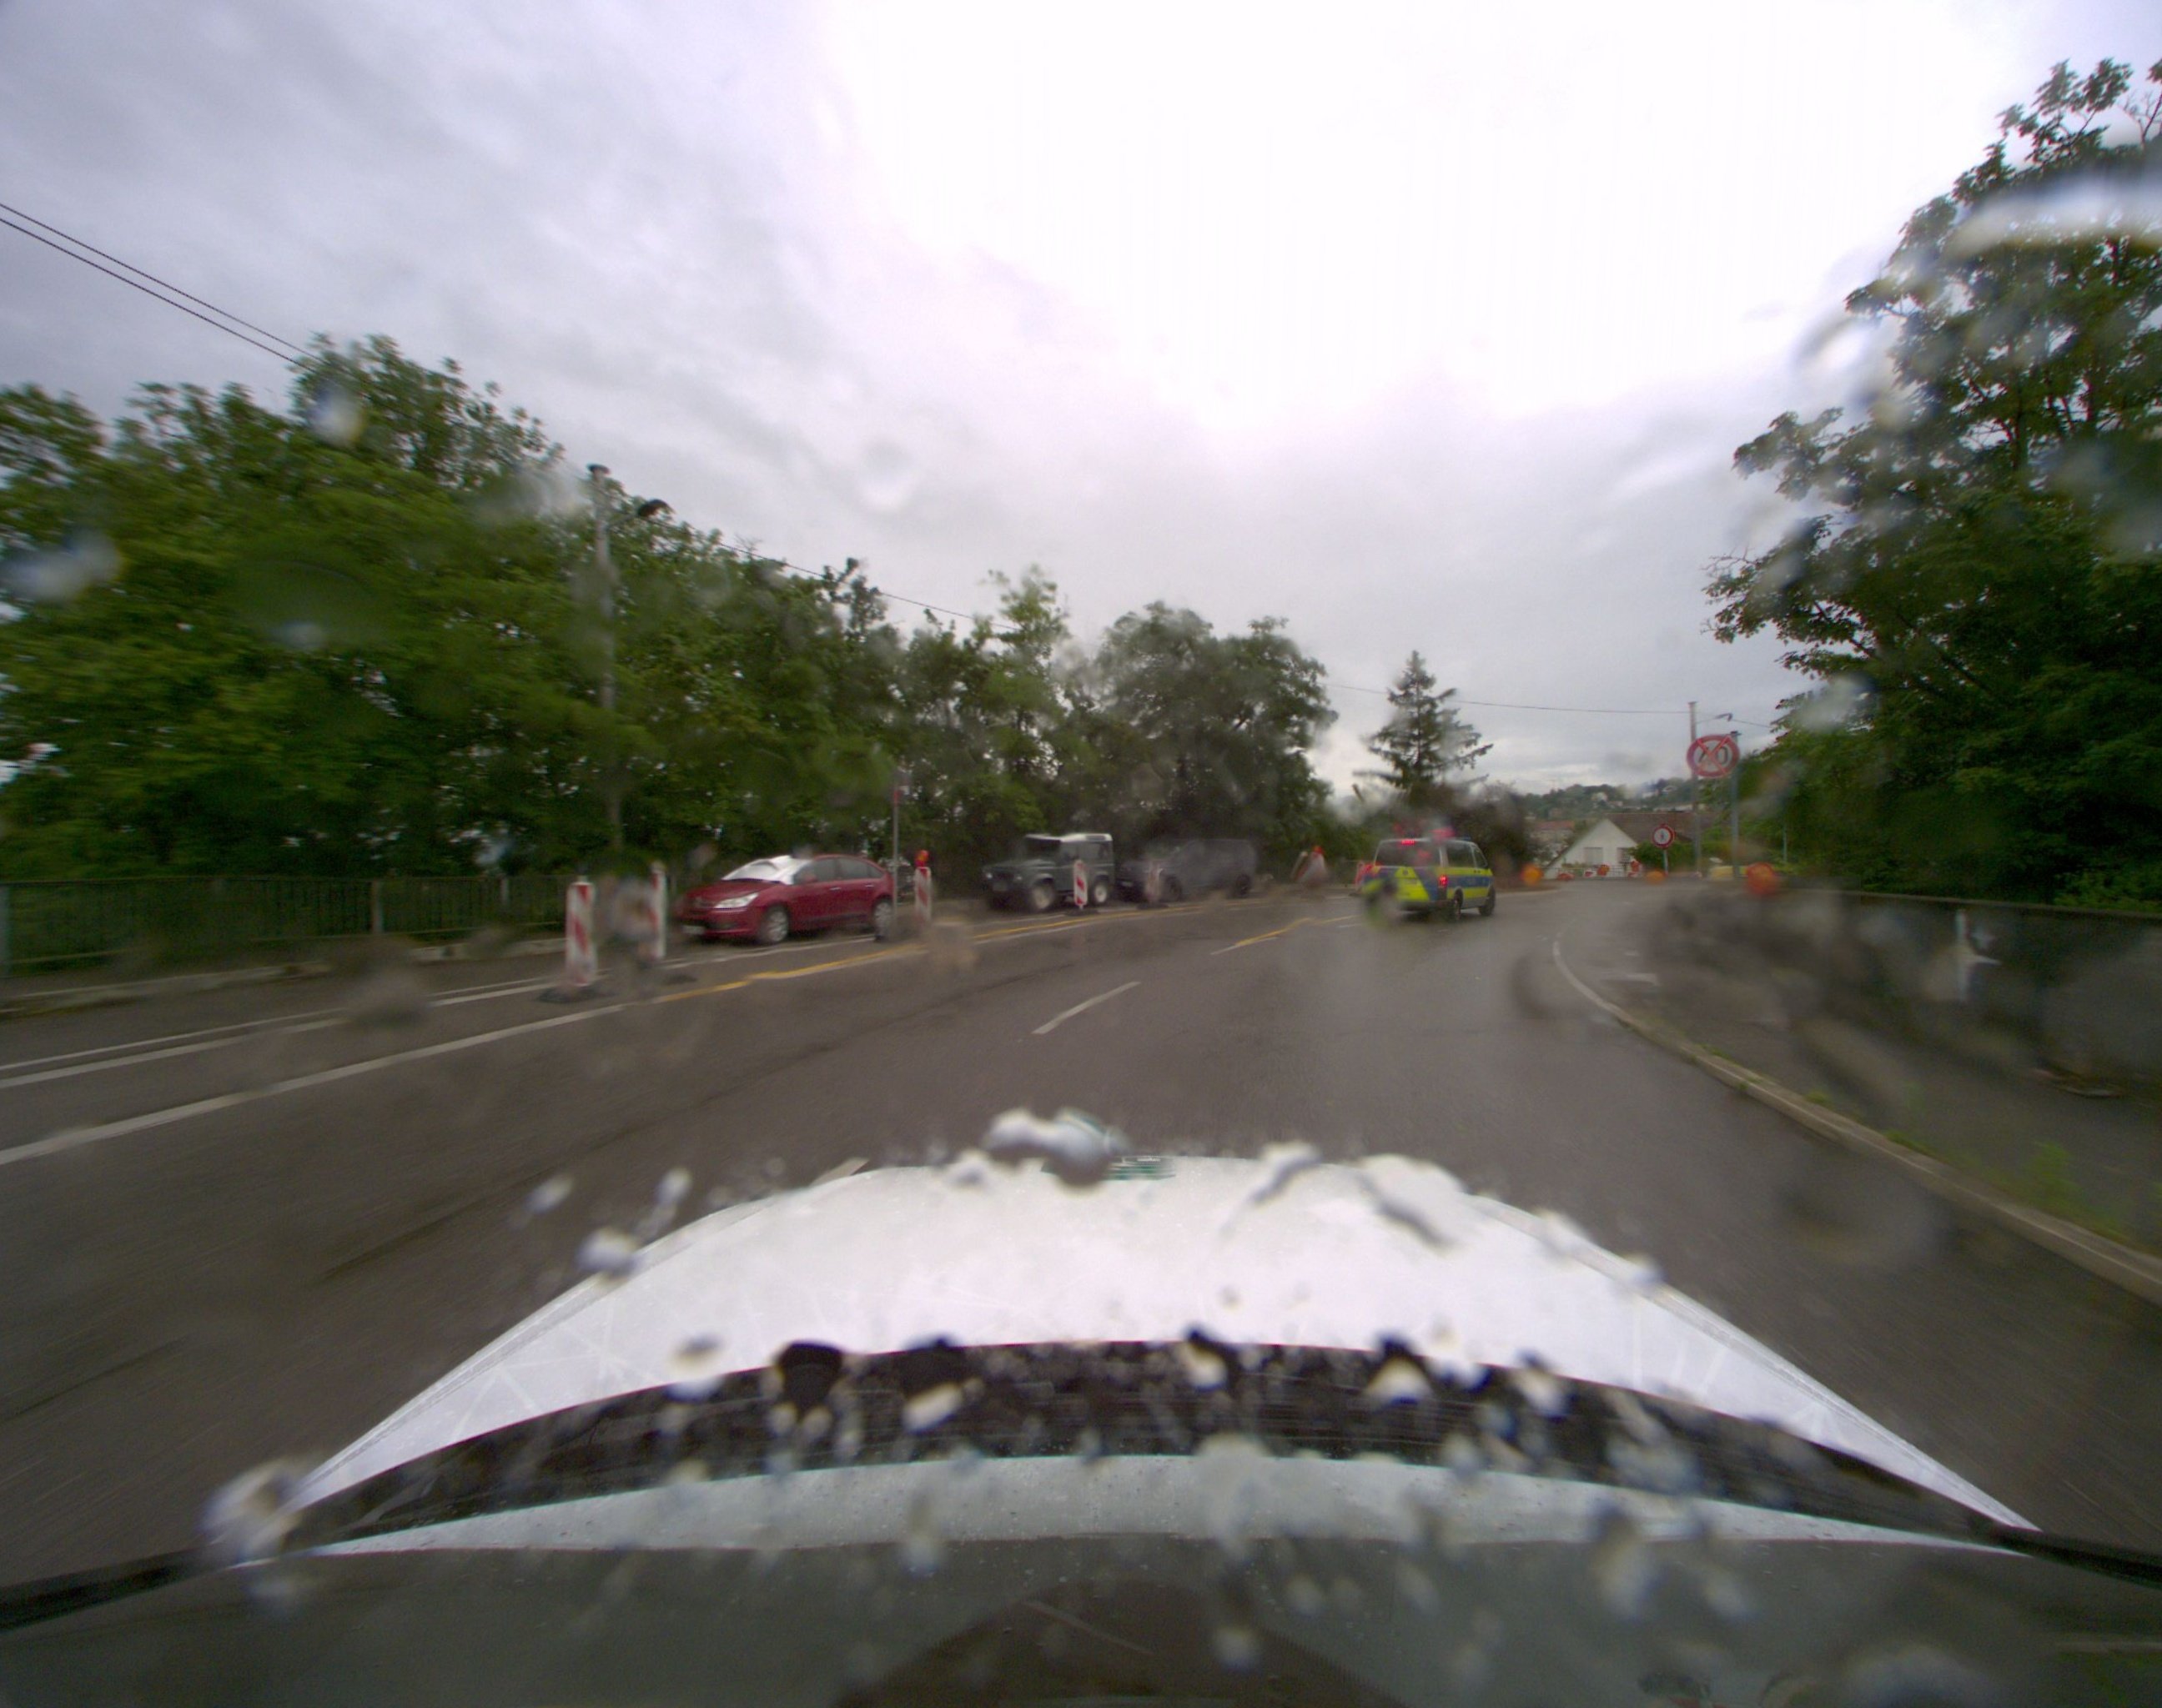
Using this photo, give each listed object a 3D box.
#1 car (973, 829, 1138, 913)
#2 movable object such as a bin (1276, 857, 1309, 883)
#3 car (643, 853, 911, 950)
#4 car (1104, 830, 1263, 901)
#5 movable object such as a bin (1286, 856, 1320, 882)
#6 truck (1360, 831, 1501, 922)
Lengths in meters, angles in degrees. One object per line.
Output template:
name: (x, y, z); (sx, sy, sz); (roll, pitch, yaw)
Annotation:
car: (-0.549, 0.368, 22.020); (1.847, 2.013, 4.844); (1, 1, 36)
movable object such as a bin: (9.241, 0.677, 35.609); (1.027, 1.106, 0.983); (-1, 0, -20)
car: (-5.197, 0.709, 14.599); (1.942, 1.440, 4.348); (0, 0, 26)
car: (3.290, 0.329, 25.593); (4.972, 2.013, 1.978); (1, 1, -38)
movable object such as a bin: (9.426, 0.634, 34.562); (1.027, 1.106, 0.983); (1, -1, -20)
truck: (8.908, 0.504, 20.505); (1.974, 2.014, 4.764); (-2, -1, 39)
